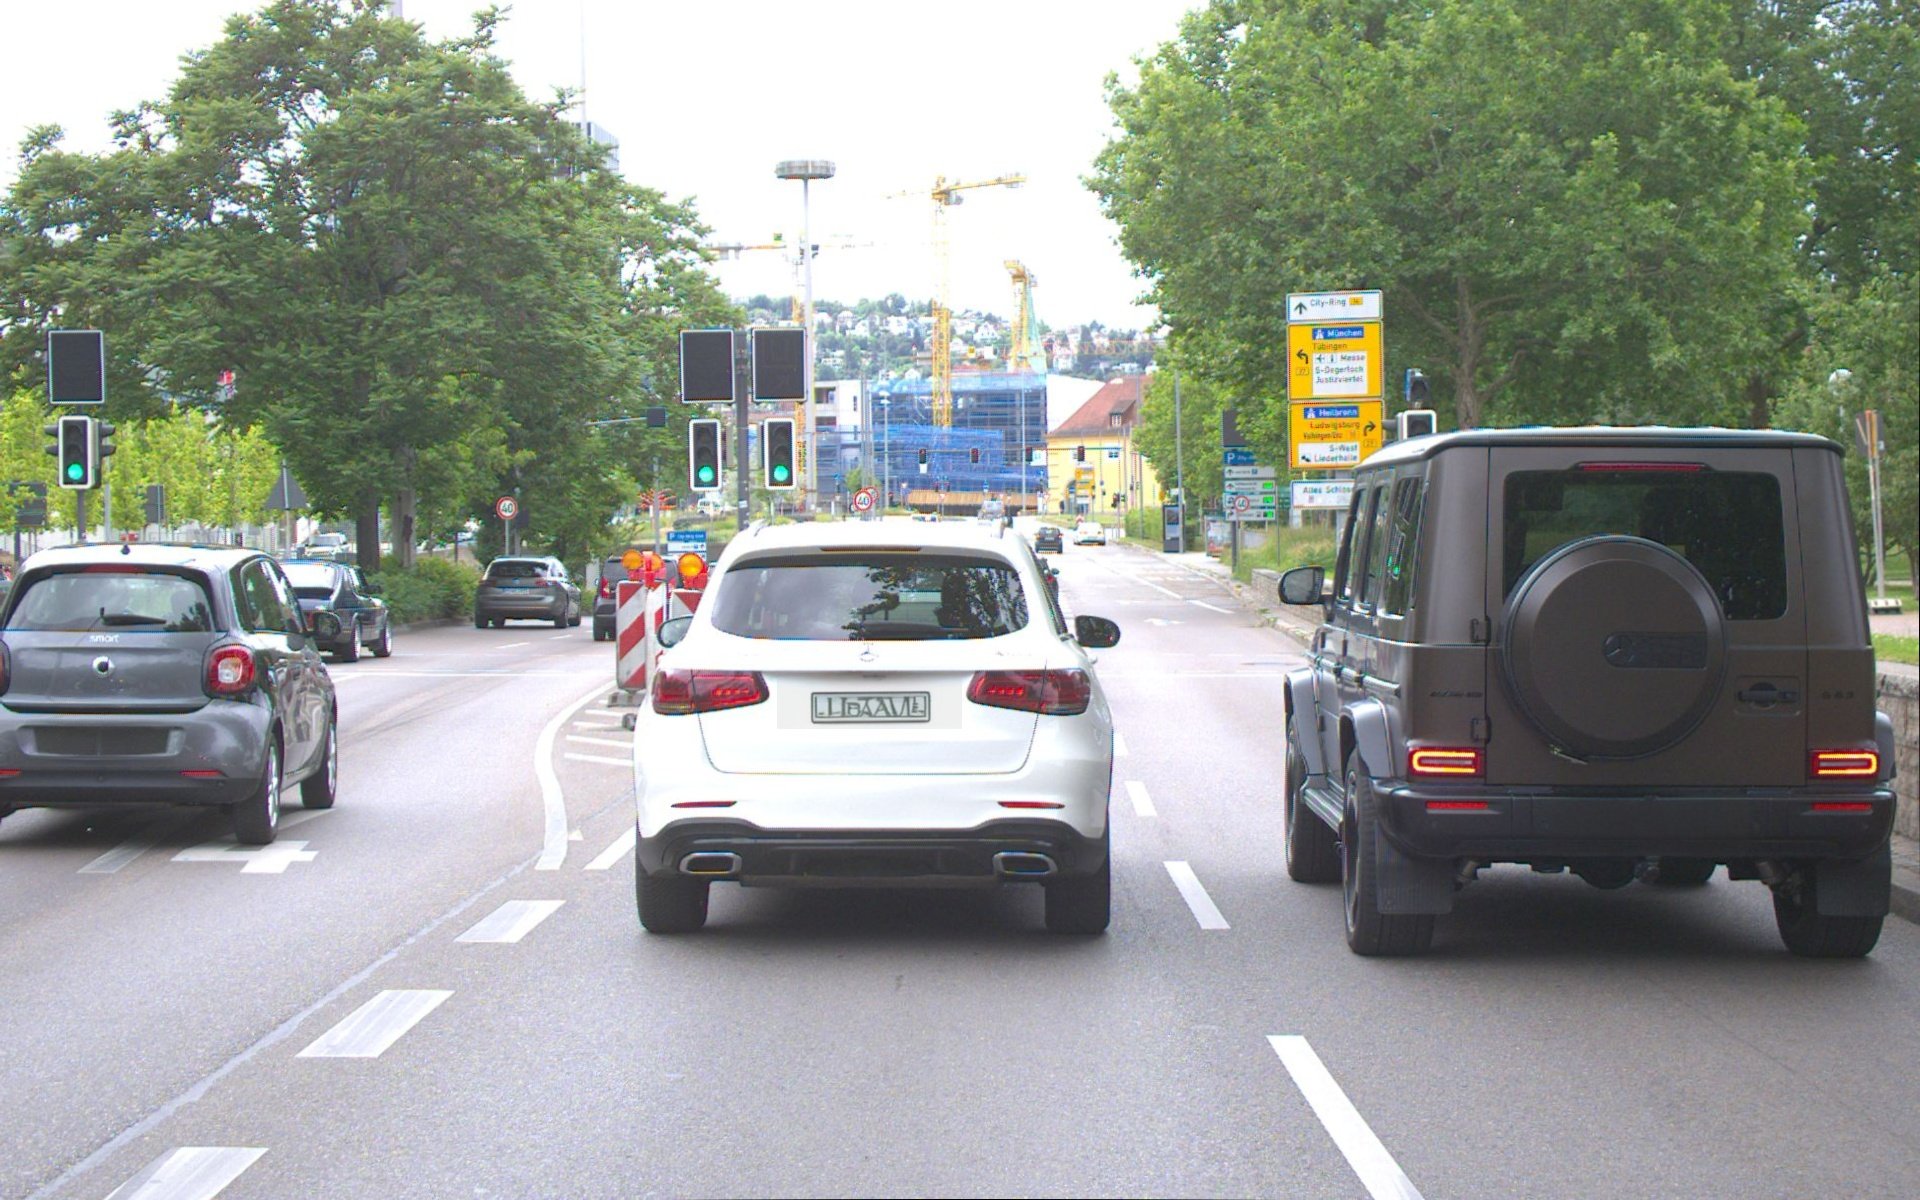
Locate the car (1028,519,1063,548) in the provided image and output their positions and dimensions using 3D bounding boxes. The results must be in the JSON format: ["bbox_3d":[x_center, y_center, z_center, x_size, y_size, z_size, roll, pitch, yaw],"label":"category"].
[{"bbox_3d":[4.885,-3.790,196.507,1.719,1.579,4.001,2,1,-2],"label":"car"}]

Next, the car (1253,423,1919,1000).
[{"bbox_3d":[2.408,0.371,13.925,1.977,1.887,4.707,2,0,0],"label":"car"}]

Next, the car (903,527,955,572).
[{"bbox_3d":[-1.269,-2.078,141.850,1.993,1.751,4.000,2,0,1],"label":"car"}]

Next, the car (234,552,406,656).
[{"bbox_3d":[-8.672,0.024,46.877,1.719,1.288,4.001,2,1,-2],"label":"car"}]

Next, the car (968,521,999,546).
[{"bbox_3d":[1.492,-4.248,219.706,1.719,1.579,4.001,2,1,-2],"label":"car"}]

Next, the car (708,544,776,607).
[{"bbox_3d":[-5.780,-0.655,90.879,1.719,1.579,4.001,2,1,-4],"label":"car"}]

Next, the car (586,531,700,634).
[{"bbox_3d":[-5.469,-0.324,59.634,1.719,1.673,4.001,2,1,-2],"label":"car"}]

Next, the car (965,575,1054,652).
[{"bbox_3d":[1.068,0.281,76.010,1.719,1.579,4.001,2,1,-2],"label":"car"}]

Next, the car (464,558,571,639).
[{"bbox_3d":[-9.023,-0.059,70.393,1.753,1.548,4.000,2,1,-2],"label":"car"}]

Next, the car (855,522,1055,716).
[{"bbox_3d":[-0.043,0.168,31.575,1.672,1.622,4.000,2,0,0],"label":"car"}]

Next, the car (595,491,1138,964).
[{"bbox_3d":[-0.388,0.462,14.607,1.940,1.678,4.000,2,0,-1],"label":"car"}]

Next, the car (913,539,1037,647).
[{"bbox_3d":[0.203,-0.135,53.787,1.719,1.579,4.001,2,1,-2],"label":"car"}]

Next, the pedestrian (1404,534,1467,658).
[{"bbox_3d":[6.463,-0.052,46.769,0.697,1.650,0.684,2,0,-1],"label":"pedestrian"}]

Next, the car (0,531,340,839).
[{"bbox_3d":[-4.400,0.411,18.664,1.627,1.504,3.540,1,0,-4],"label":"car"}]

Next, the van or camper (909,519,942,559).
[{"bbox_3d":[-2.111,-3.725,209.385,1.922,2.312,4.000,0,-1,-1],"label":"van or camper"}]

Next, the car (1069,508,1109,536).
[{"bbox_3d":[8.164,-4.923,217.798,1.993,1.612,4.001,2,0,-5],"label":"car"}]
